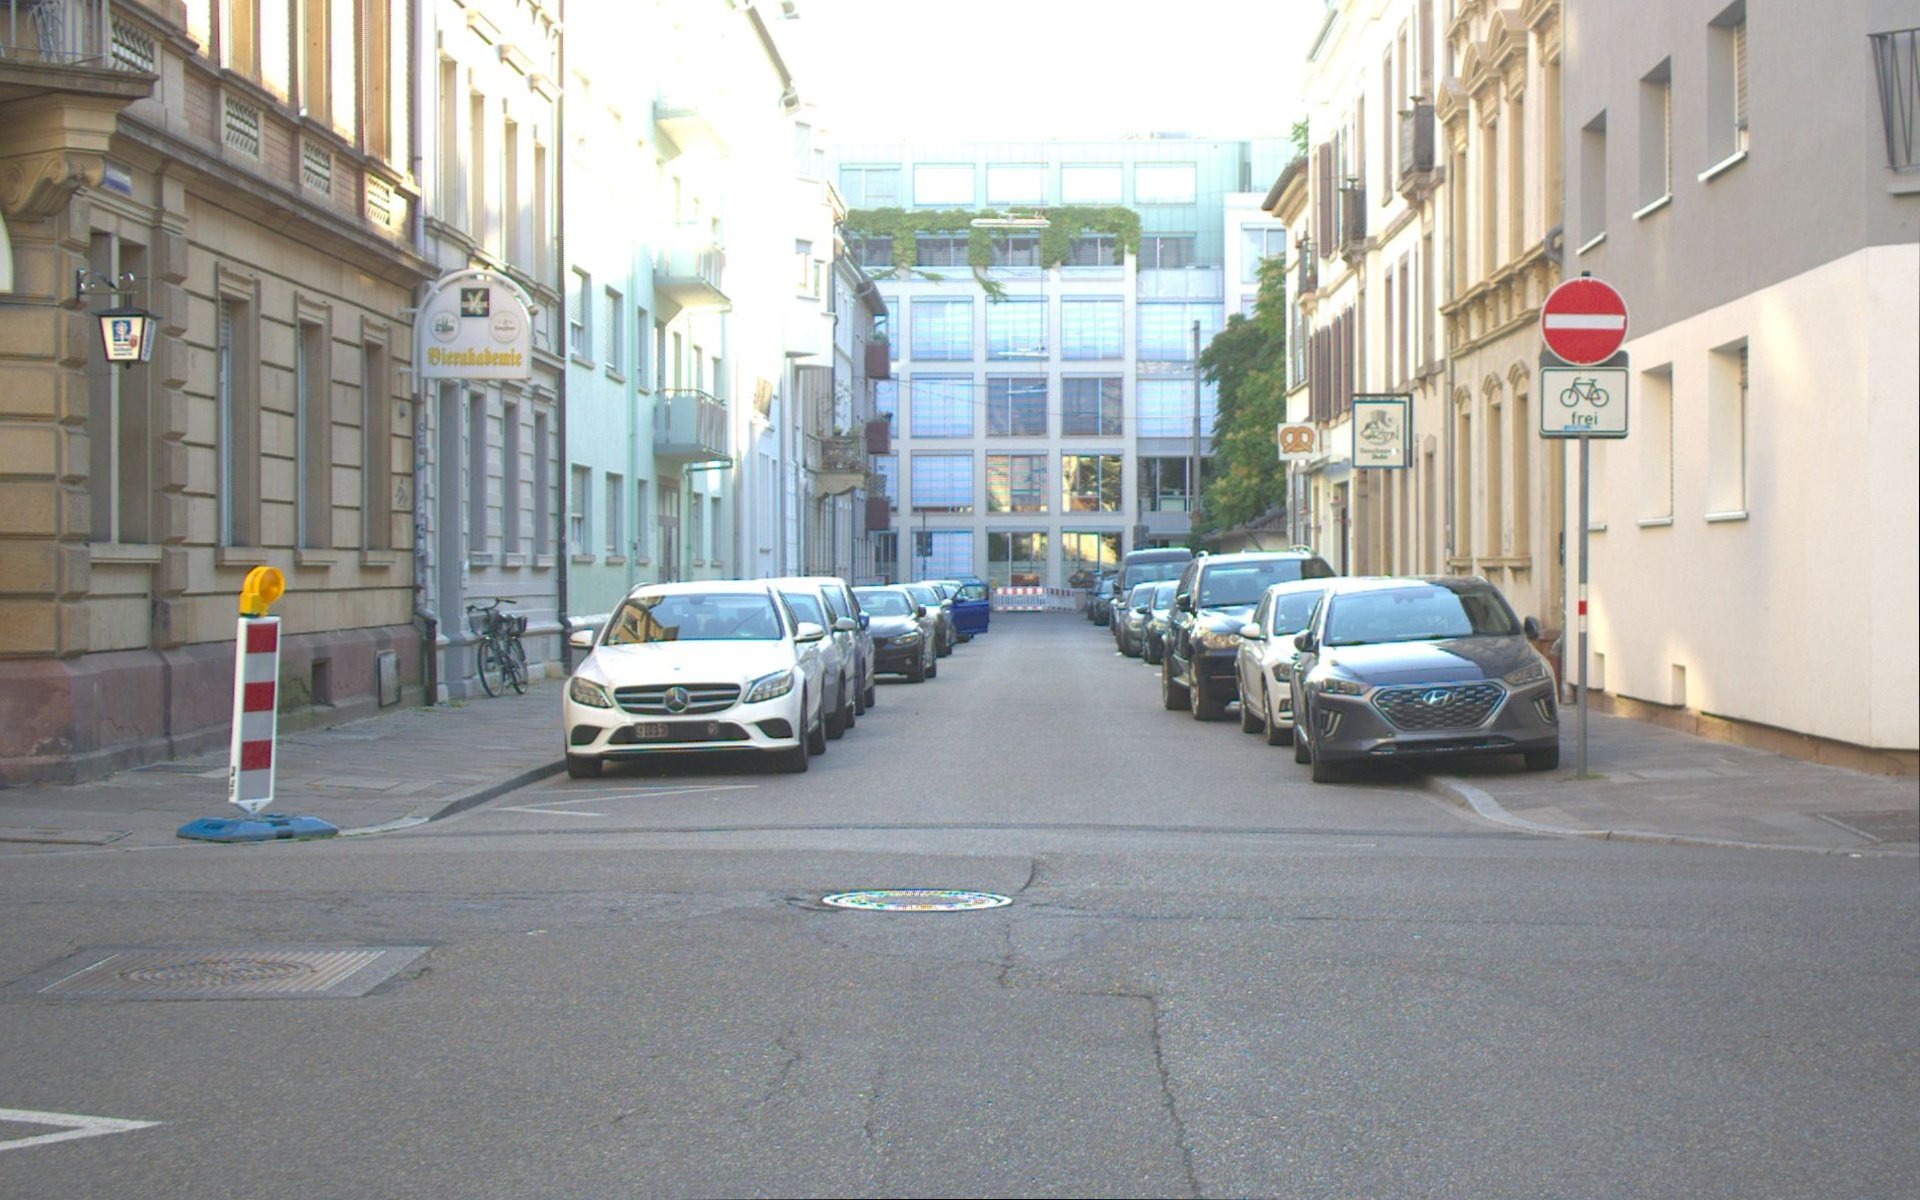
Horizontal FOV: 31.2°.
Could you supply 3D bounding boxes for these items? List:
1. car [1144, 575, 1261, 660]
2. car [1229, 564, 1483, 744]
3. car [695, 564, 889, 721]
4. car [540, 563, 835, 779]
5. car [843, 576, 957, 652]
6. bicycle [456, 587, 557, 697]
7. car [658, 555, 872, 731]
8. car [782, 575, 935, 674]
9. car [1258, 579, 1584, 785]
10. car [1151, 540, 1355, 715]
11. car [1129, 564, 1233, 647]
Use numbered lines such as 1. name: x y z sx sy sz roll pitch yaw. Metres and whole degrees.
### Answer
1. car: 4.366 0.299 62.413 1.994 1.446 4.000 1 1 2
2. car: 3.599 0.453 31.872 1.963 1.552 3.889 0 1 1
3. car: -1.829 0.432 38.468 1.785 1.653 3.816 0 1 3
4. car: -2.065 0.493 27.287 1.993 1.559 4.506 0 1 0
5. car: -1.171 0.254 67.751 2.173 1.413 4.000 0 1 -1
6. bicycle: -5.075 0.451 38.575 0.737 1.157 2.461 1 1 1
7. car: -1.798 0.366 32.723 1.625 1.571 3.754 0 1 3
8. car: -1.418 0.322 49.838 1.993 1.350 4.429 0 1 1
9. car: 3.370 0.559 25.805 1.938 1.367 3.789 -1 1 0
10. car: 3.122 0.260 37.308 1.893 1.778 4.000 0 1 1
11. car: 4.674 0.098 73.095 1.993 1.694 4.000 1 1 1
